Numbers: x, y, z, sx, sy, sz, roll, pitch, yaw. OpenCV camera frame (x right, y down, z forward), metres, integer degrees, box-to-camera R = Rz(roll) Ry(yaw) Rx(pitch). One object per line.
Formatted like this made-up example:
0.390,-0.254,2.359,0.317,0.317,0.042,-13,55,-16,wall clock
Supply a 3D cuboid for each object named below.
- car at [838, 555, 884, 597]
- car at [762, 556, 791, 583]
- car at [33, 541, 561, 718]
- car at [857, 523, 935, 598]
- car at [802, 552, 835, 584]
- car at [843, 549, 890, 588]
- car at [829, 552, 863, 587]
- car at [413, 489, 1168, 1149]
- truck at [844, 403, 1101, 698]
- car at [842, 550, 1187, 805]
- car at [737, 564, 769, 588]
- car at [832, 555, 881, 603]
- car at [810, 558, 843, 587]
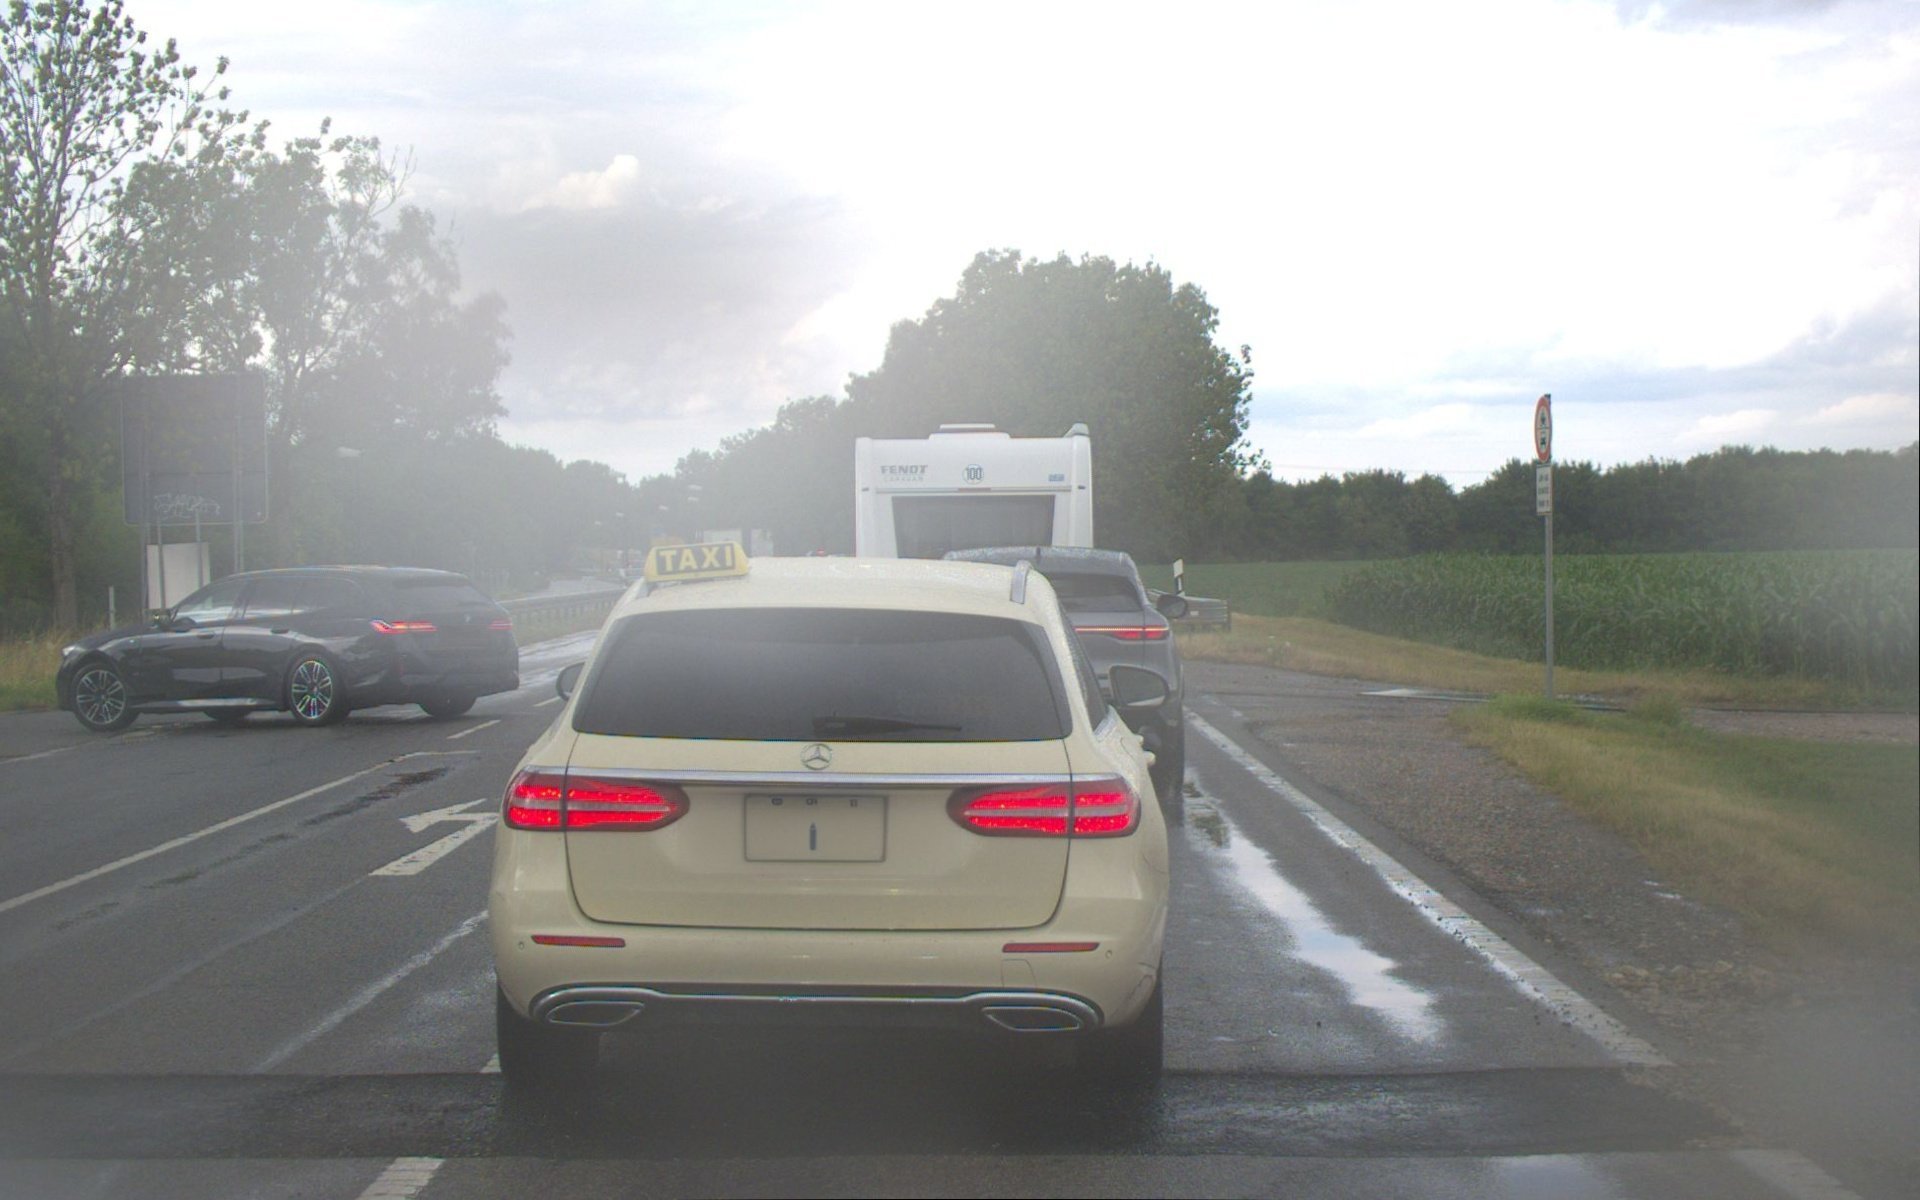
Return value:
-4.269,-1.062,148.503,1.879,1.755,3.834,-1,1,-1,car
-12.975,-2.189,243.401,1.895,1.833,3.882,-1,1,-1,car
-6.357,0.238,32.869,4.626,1.542,2.305,1,1,32,car
-1.609,-1.011,87.252,1.915,1.834,3.796,-1,1,-1,car
-8.753,-1.986,212.702,1.895,1.888,3.844,-1,1,-4,car
-4.375,-1.469,160.432,1.993,1.766,4.001,-1,1,-4,car
-6.227,-1.652,187.187,1.740,1.853,3.785,-1,1,-3,car
-0.439,0.513,10.422,1.842,1.612,4.000,0,1,-1,car
0.077,-0.518,35.922,2.363,2.719,7.314,-1,1,-1,truck
0.293,0.432,22.057,1.993,1.457,4.000,1,1,-1,car
-13.473,-1.560,223.955,1.828,1.568,4.000,1,1,0,car
-3.953,-0.811,132.017,1.791,1.771,3.721,-1,1,-1,car
-7.798,-1.617,200.925,1.748,1.656,3.673,-1,1,-5,car
